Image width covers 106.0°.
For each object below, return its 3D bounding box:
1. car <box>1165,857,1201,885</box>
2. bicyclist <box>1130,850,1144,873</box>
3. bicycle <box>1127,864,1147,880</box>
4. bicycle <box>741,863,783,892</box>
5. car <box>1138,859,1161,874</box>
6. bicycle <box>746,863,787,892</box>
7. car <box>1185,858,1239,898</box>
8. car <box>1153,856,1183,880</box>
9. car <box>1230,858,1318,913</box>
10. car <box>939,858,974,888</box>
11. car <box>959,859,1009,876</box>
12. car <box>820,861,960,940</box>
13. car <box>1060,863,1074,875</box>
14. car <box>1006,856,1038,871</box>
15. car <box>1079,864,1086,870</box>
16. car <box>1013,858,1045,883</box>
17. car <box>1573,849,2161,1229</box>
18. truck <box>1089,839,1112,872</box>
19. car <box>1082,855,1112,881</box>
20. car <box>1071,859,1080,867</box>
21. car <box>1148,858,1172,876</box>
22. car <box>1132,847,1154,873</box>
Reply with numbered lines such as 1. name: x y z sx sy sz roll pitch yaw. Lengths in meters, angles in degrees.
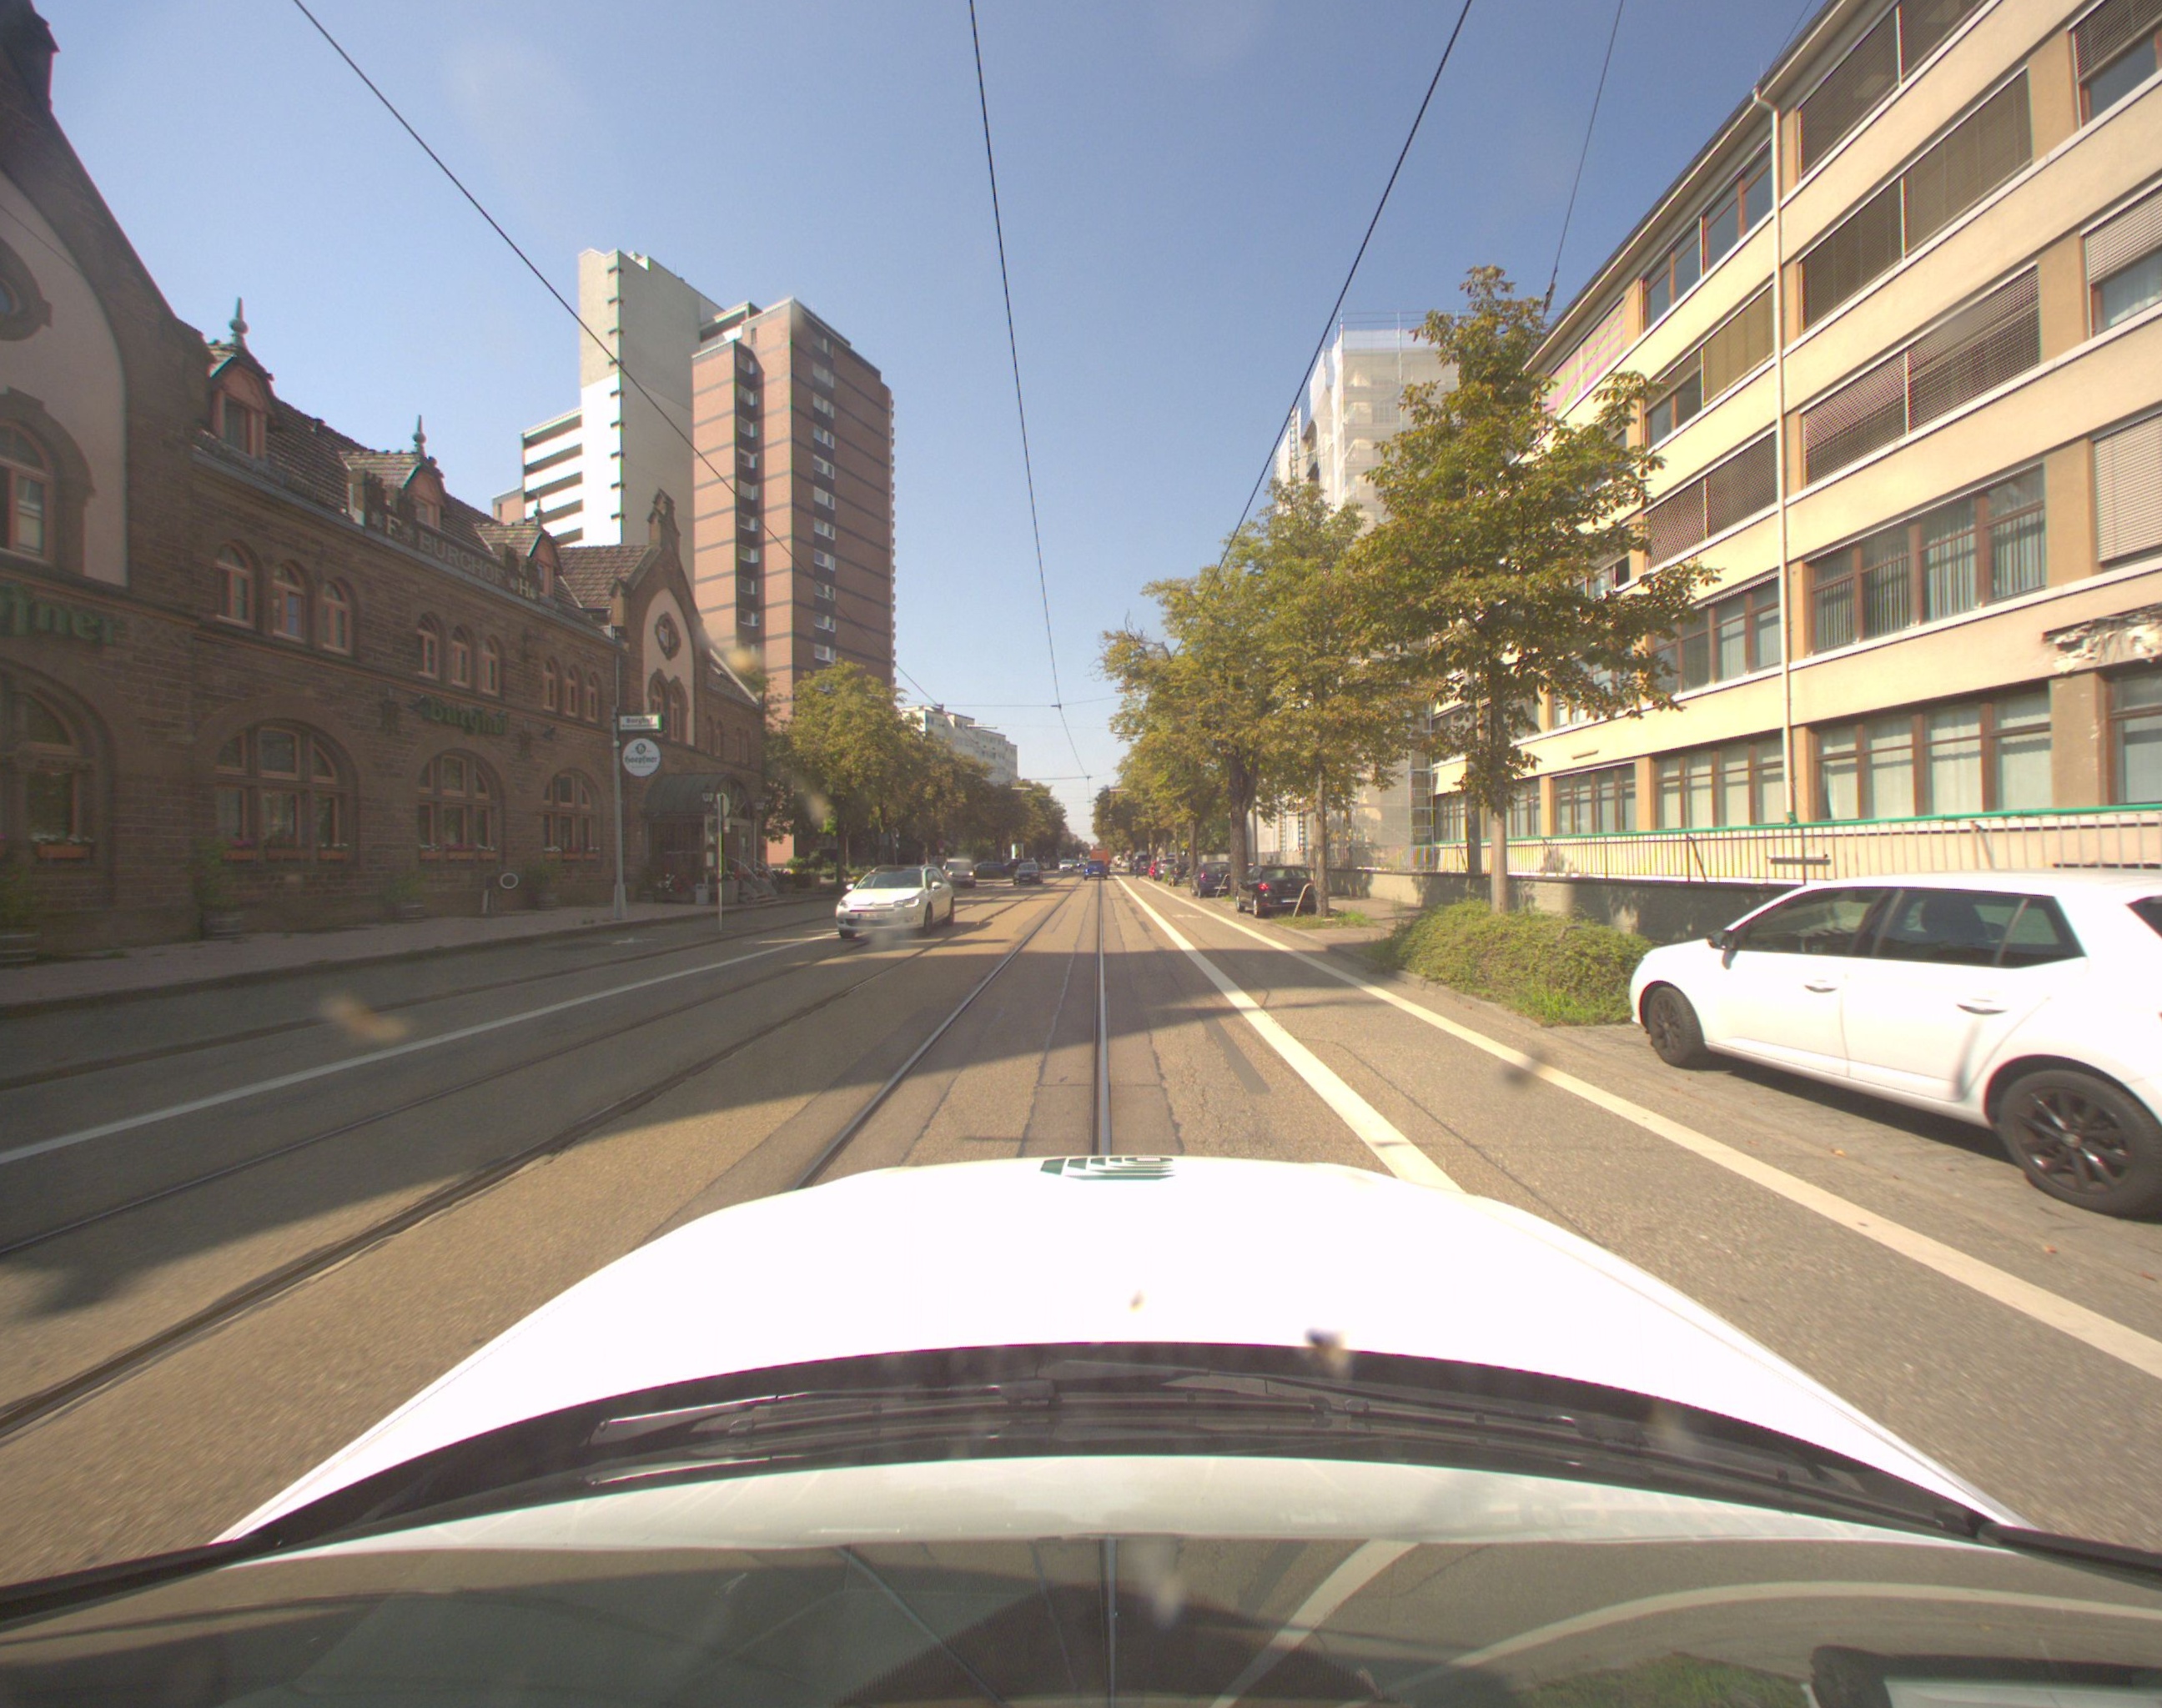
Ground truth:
1. car: 6.006 0.964 48.137 1.628 1.585 4.188 0 0 0
2. bicyclist: 4.340 0.573 63.024 1.028 1.812 1.016 0 0 1
3. bicycle: 4.313 1.365 63.020 1.396 1.134 4.001 -1 0 1
4. bicycle: -12.796 0.940 32.681 1.447 1.093 0.399 3 -1 -3
5. car: 6.556 1.204 78.753 1.901 1.431 4.292 0 0 0
6. bicycle: -12.787 0.941 33.132 1.447 1.093 0.399 3 -1 -3
7. car: 5.556 0.998 35.040 1.736 1.556 4.218 -2 -1 2
8. car: 6.173 0.956 58.232 1.734 1.668 4.361 0 0 0
9. car: 5.450 0.838 23.489 1.653 1.408 4.218 -2 -1 2
10. car: -8.031 1.186 52.342 1.750 1.796 3.978 0 0 -16
11. car: -9.556 1.327 80.361 4.588 1.552 1.985 0 0 -23
12. car: -4.079 0.926 18.273 1.840 1.492 4.869 0 0 2
13. car: -1.876 2.069 112.455 1.774 1.684 4.347 0 0 0
14. car: -7.818 1.275 108.160 4.022 2.014 1.834 0 -1 -42
15. car: 0.381 3.218 204.272 1.892 1.562 4.122 0 0 0
16. car: -3.442 1.081 54.275 1.675 1.571 4.208 0 0 2
17. car: 5.149 0.739 5.106 1.653 1.481 4.218 -2 -1 2
18. truck: 1.965 0.129 82.213 2.128 3.124 6.086 -1 0 1
19. car: 1.245 1.063 62.744 2.128 1.858 5.570 -1 0 1
20. car: -1.019 1.636 149.878 1.628 1.585 4.188 0 0 0
21. car: 6.621 1.091 68.610 1.734 1.462 3.684 0 0 0
22. car: 6.807 0.642 89.351 1.987 2.755 5.761 0 0 0
